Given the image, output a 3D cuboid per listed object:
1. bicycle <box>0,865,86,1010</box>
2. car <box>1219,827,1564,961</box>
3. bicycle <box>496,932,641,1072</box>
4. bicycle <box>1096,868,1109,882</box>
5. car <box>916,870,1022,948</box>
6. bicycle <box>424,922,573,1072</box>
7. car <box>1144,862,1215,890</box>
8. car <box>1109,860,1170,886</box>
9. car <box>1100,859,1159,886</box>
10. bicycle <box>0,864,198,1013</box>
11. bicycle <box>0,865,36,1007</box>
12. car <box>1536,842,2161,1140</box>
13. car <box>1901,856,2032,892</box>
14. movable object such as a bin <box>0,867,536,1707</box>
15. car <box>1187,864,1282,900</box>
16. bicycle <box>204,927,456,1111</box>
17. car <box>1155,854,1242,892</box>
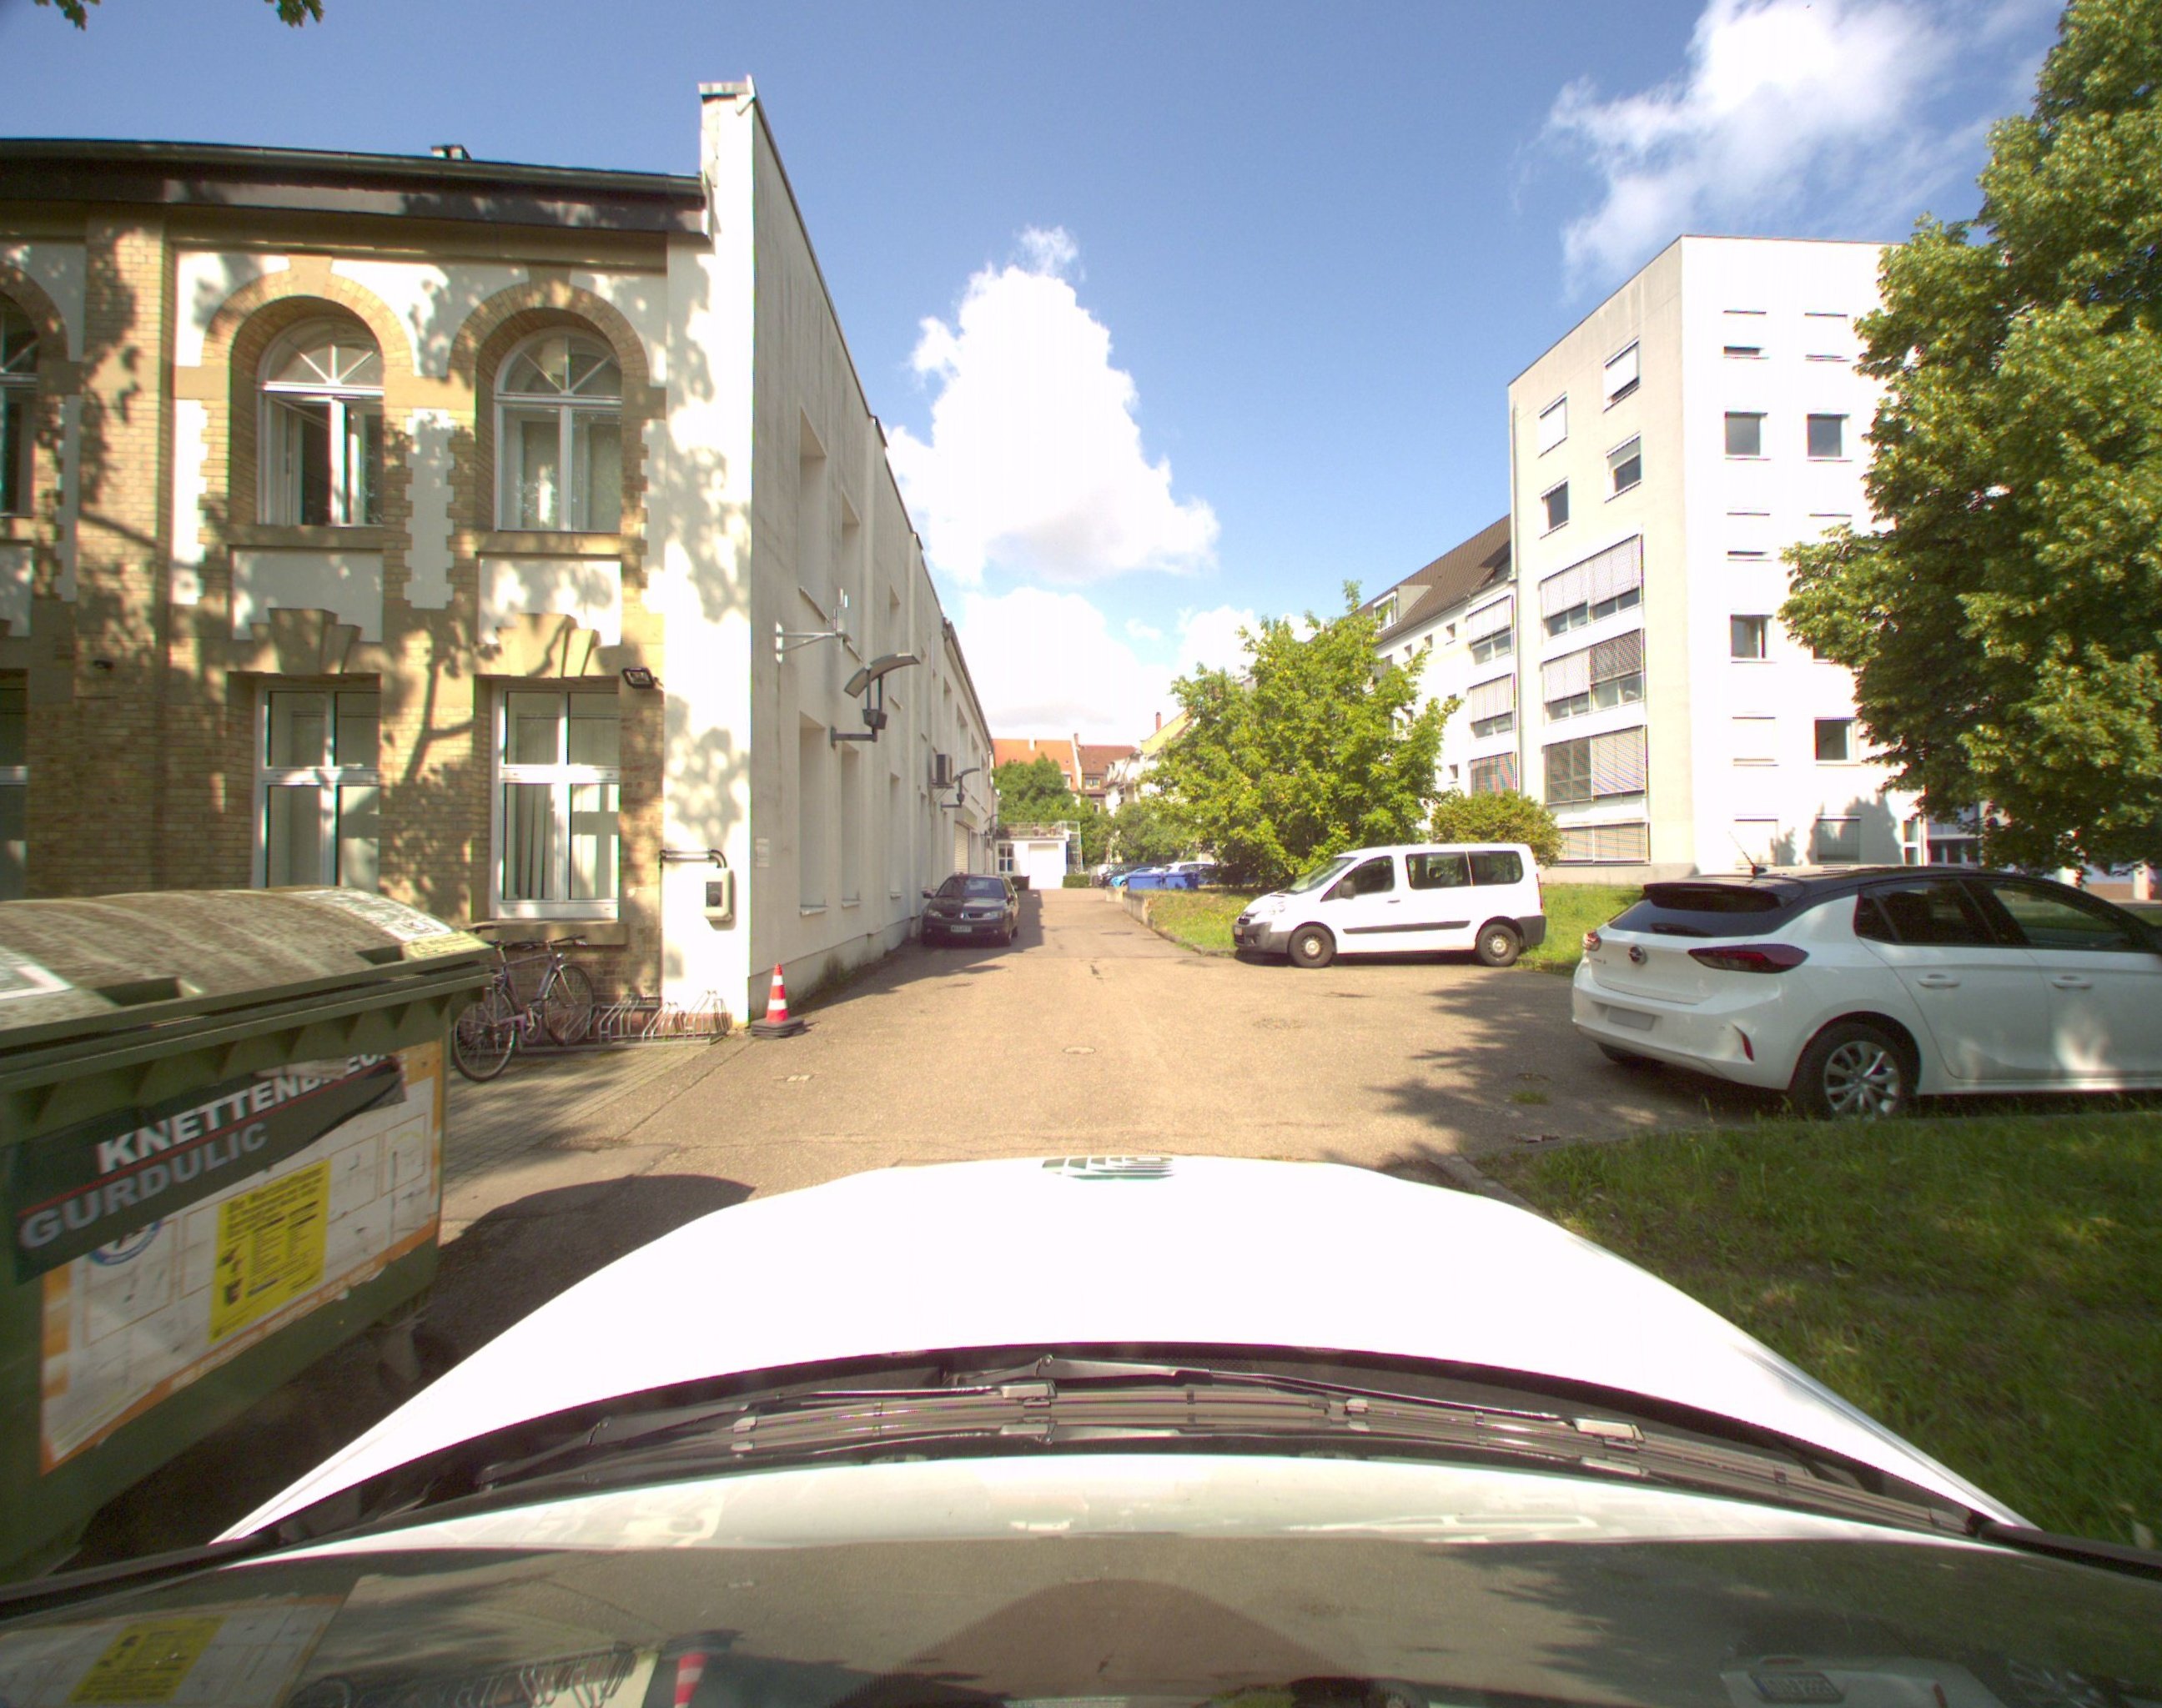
[{"bbox_3d":[-8.787,0.678,6.159,0.356,1.142,1.857,1,0,-5],"label":"bicycle"},{"bbox_3d":[4.940,0.630,13.463,4.926,1.965,1.998,-1,-2,-2],"label":"car"},{"bbox_3d":[-4.334,1.201,7.005,0.318,0.913,1.605,1,0,-4],"label":"bicycle"},{"bbox_3d":[1.840,1.778,69.030,0.641,1.117,1.850,-1,-1,-12],"label":"bicycle"},{"bbox_3d":[-2.242,1.081,17.363,1.875,1.442,4.335,1,-2,-3],"label":"car"},{"bbox_3d":[-4.935,1.164,6.997,0.318,1.037,1.442,1,0,-4],"label":"bicycle"},{"bbox_3d":[5.983,1.303,49.460,3.986,1.444,1.624,-2,2,-9],"label":"car"},{"bbox_3d":[4.031,1.299,56.453,3.986,1.573,1.624,-1,2,-9],"label":"car"},{"bbox_3d":[3.498,1.345,59.185,3.986,1.817,1.659,1,0,-9],"label":"car"},{"bbox_3d":[-7.864,0.609,6.222,0.318,1.037,1.857,1,0,-4],"label":"bicycle"},{"bbox_3d":[-9.492,0.714,6.181,0.417,1.215,2.067,1,0,1],"label":"bicycle"},{"bbox_3d":[5.297,0.680,5.150,3.897,1.420,1.756,-2,0,-5],"label":"car"},{"bbox_3d":[38.163,0.842,35.164,3.894,1.420,1.757,-2,0,-3],"label":"car"},{"bbox_3d":[-2.307,0.785,1.940,1.096,1.451,1.342,1,0,-2],"label":"movable object such as a bin"},{"bbox_3d":[7.310,1.334,38.935,4.111,1.606,1.750,1,0,-9],"label":"car"},{"bbox_3d":[-5.641,1.169,6.275,0.318,1.037,1.857,1,0,-4],"label":"bicycle"},{"bbox_3d":[5.979,0.947,41.651,3.986,1.745,1.944,-1,1,-9],"label":"car"}]
